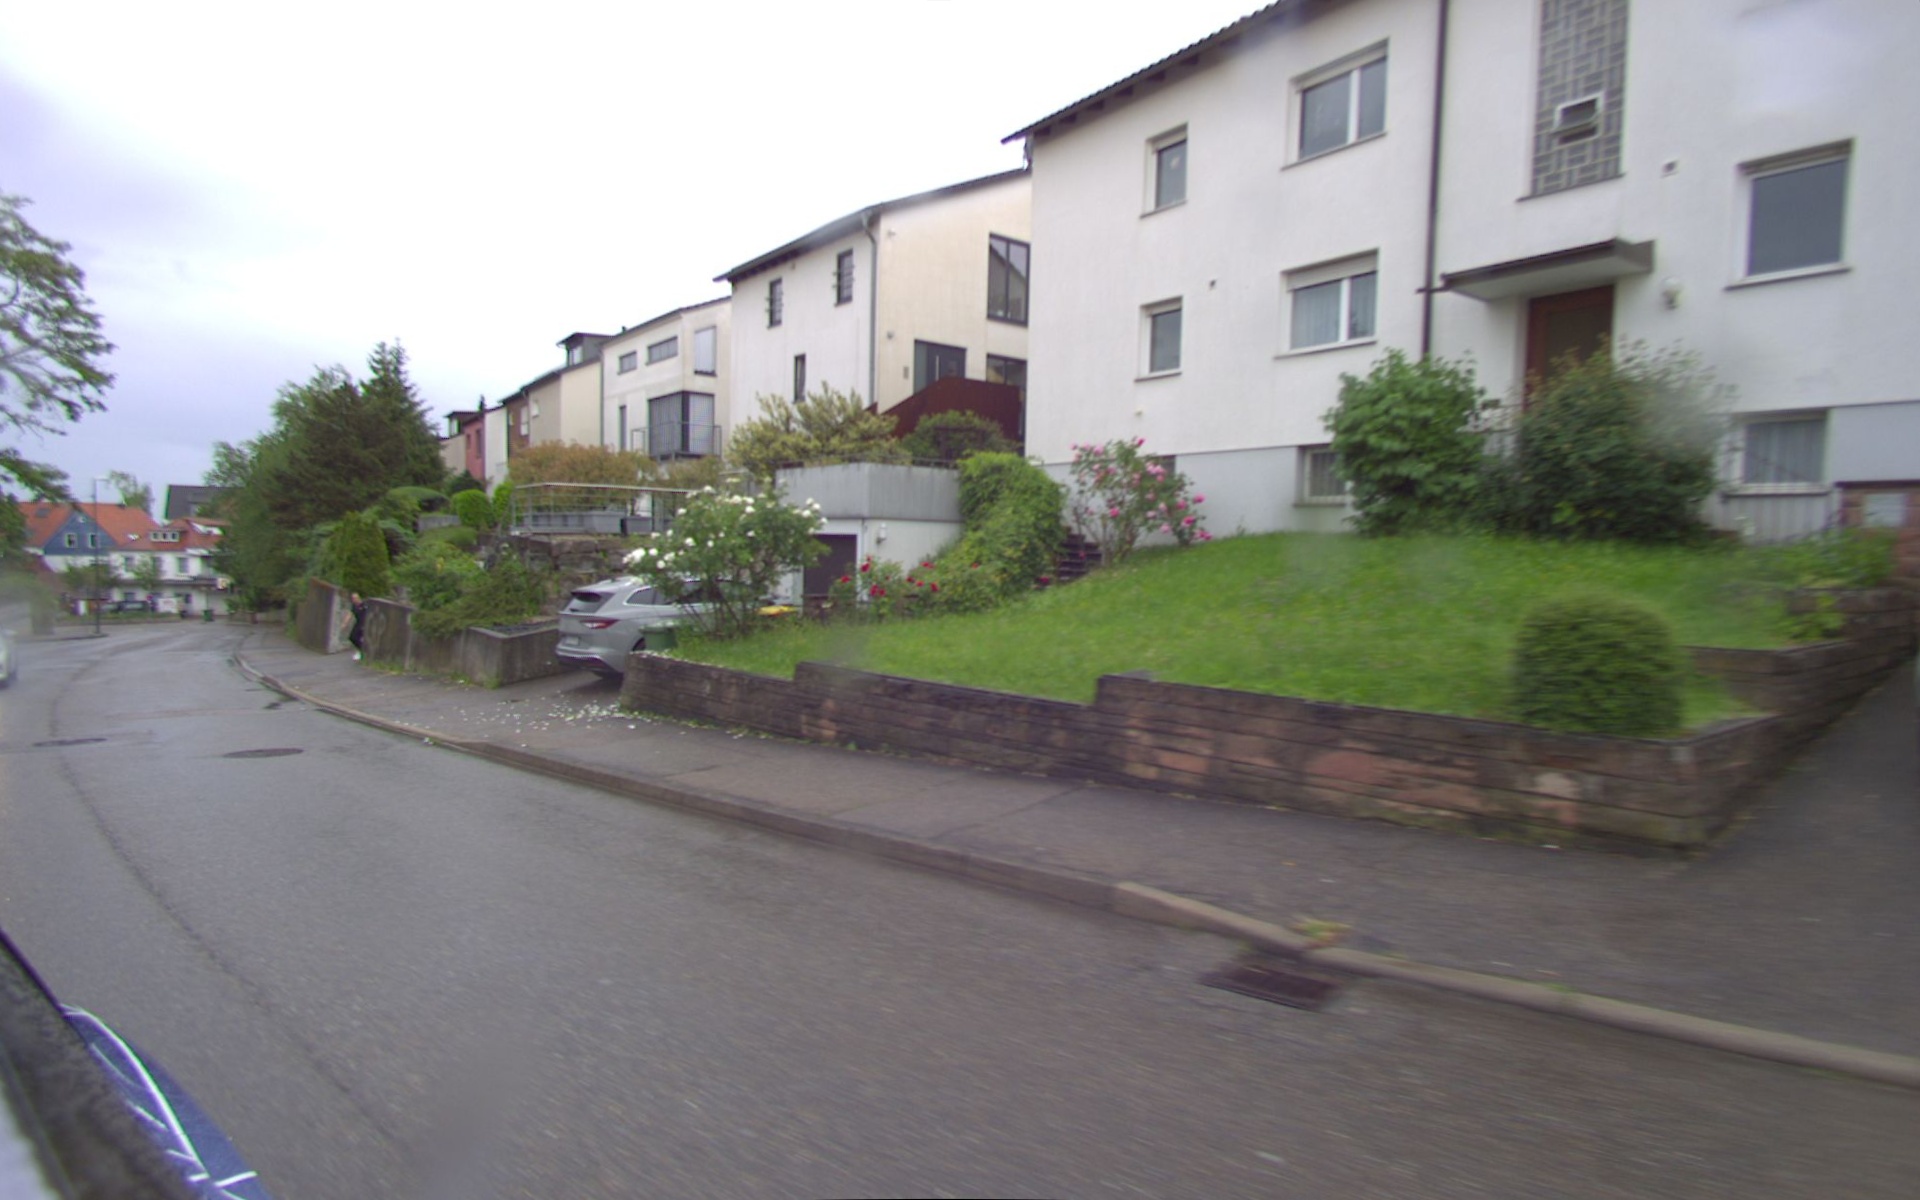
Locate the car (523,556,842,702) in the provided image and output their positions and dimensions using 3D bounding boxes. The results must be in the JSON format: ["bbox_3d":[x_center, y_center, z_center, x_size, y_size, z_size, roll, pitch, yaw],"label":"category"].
[{"bbox_3d":[-4.339,0.343,16.320,4.459,1.625,1.934,-10,6,-43],"label":"car"}]

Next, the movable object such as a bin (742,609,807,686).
[{"bbox_3d":[-2.671,0.669,14.586,0.531,1.027,0.711,-7,4,-44],"label":"movable object such as a bin"}]

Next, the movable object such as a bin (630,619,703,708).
[{"bbox_3d":[-3.900,0.820,13.443,0.531,1.083,0.743,-9,5,-44],"label":"movable object such as a bin"}]

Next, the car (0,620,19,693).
[{"bbox_3d":[-20.255,1.113,20.298,1.835,1.388,4.187,-1,0,-41],"label":"car"}]

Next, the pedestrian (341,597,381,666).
[{"bbox_3d":[-14.681,0.772,24.806,0.733,1.661,0.648,-3,-1,44],"label":"pedestrian"}]
